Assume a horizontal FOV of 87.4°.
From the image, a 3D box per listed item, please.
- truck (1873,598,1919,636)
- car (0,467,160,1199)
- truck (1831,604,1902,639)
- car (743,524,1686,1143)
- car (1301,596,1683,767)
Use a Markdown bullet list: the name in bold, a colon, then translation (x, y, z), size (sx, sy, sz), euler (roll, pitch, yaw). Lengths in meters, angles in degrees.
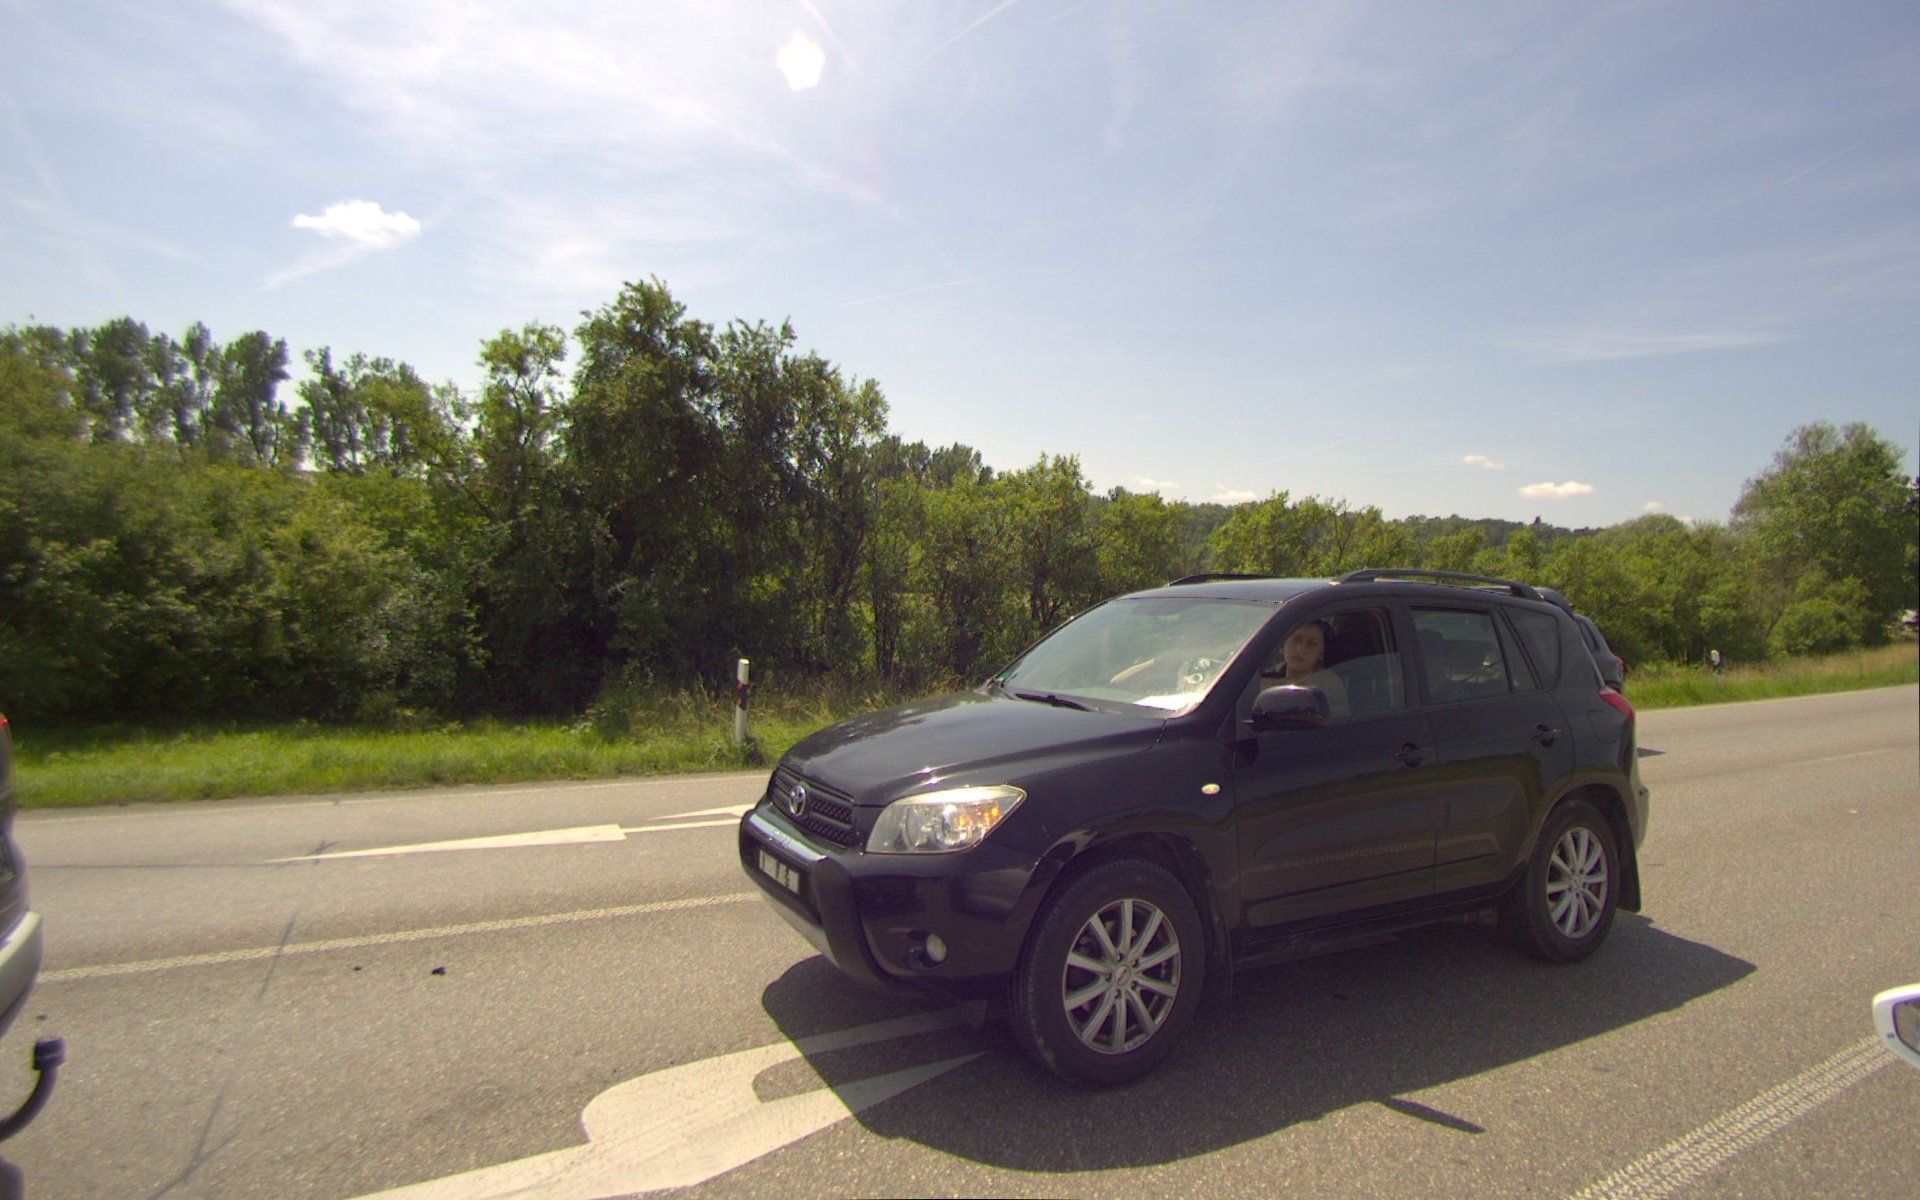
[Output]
- **truck**: translation (113.751, 2.109, 120.257), size (3.584, 4.184, 13.075), euler (3, 0, 30)
- **car**: translation (-3.700, 0.528, 1.235), size (3.953, 1.680, 1.763), euler (2, -1, -30)
- **truck**: translation (121.307, 2.949, 134.699), size (3.475, 4.296, 13.391), euler (3, 0, 27)
- **car**: translation (1.240, 0.695, 4.485), size (3.953, 1.680, 1.763), euler (2, -1, -30)
- **car**: translation (6.250, 0.894, 11.831), size (3.946, 1.718, 1.988), euler (2, -1, -25)
